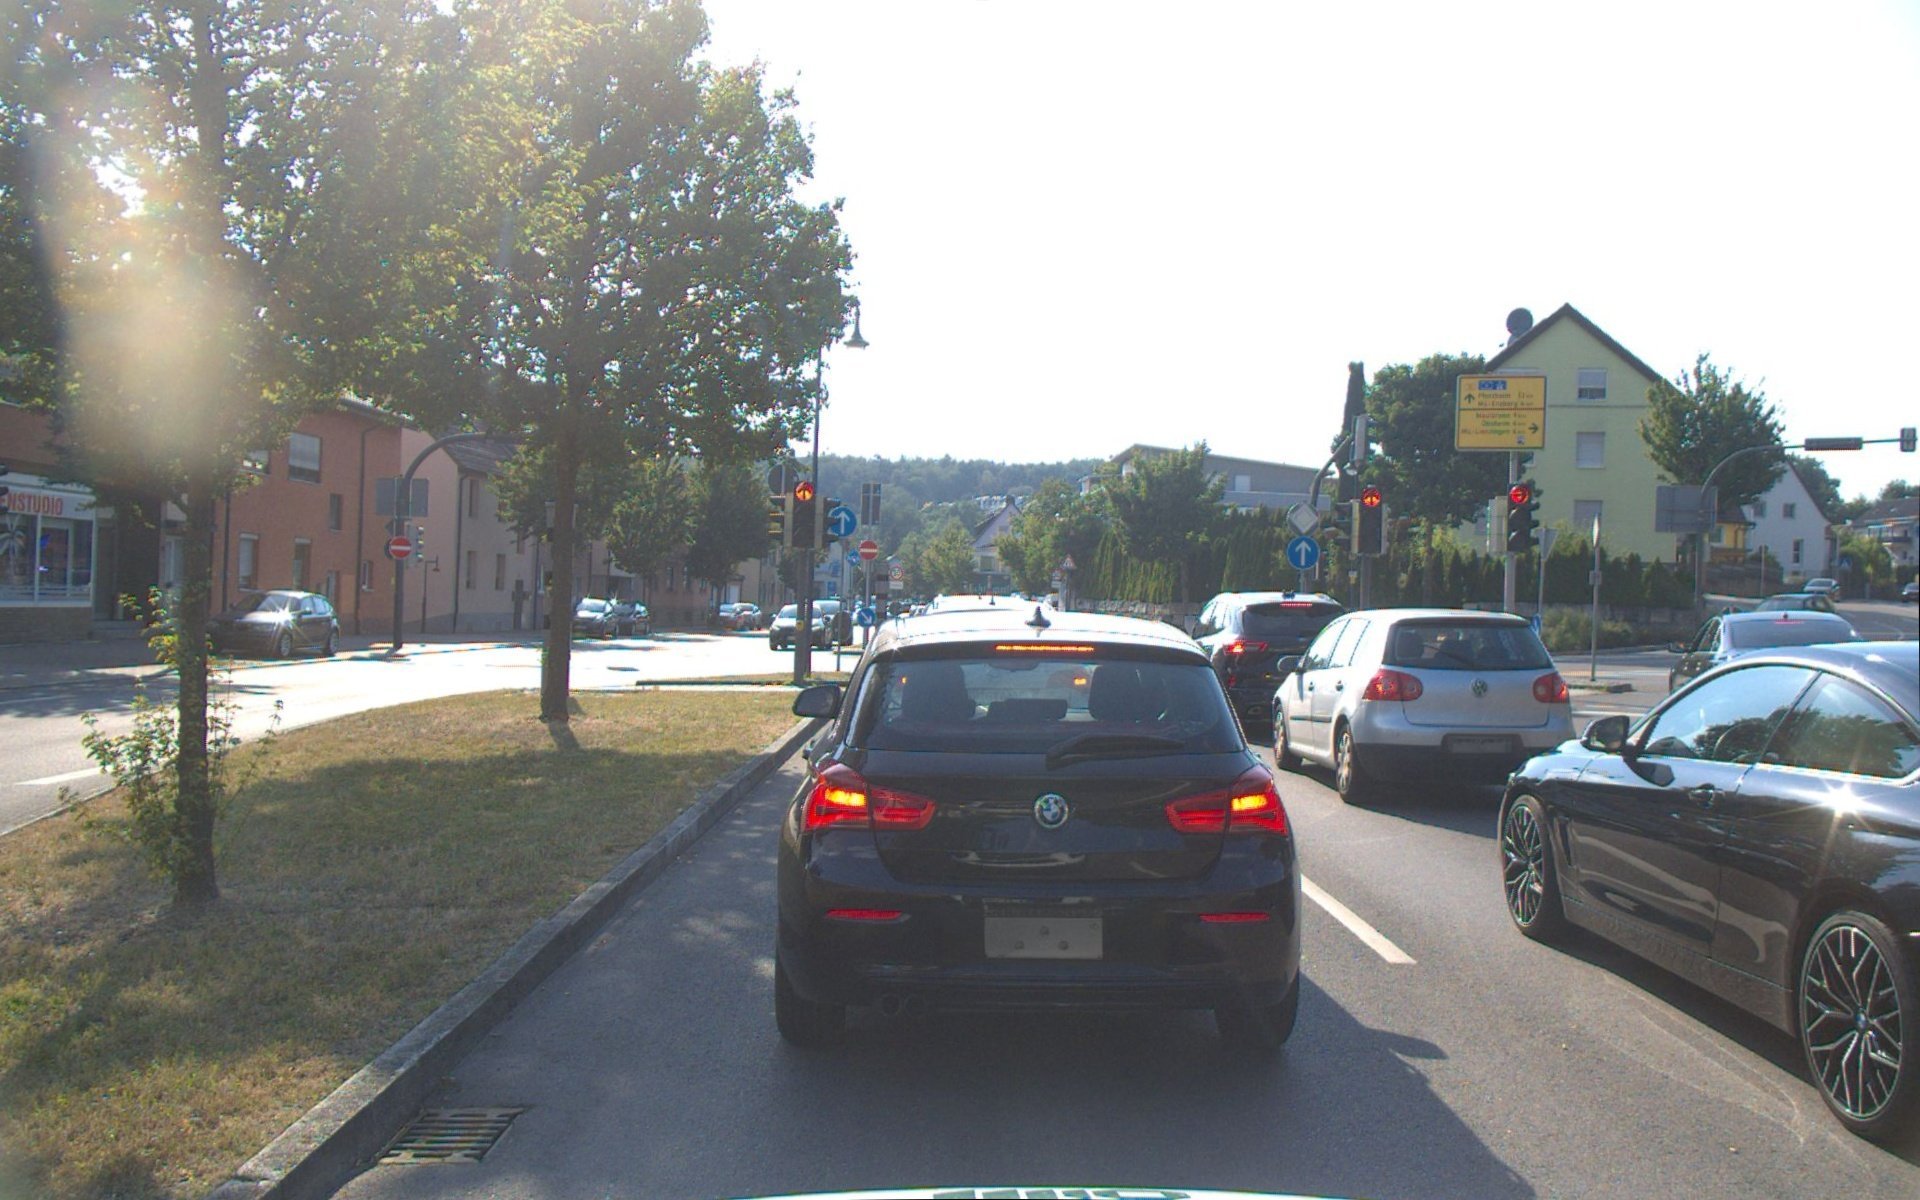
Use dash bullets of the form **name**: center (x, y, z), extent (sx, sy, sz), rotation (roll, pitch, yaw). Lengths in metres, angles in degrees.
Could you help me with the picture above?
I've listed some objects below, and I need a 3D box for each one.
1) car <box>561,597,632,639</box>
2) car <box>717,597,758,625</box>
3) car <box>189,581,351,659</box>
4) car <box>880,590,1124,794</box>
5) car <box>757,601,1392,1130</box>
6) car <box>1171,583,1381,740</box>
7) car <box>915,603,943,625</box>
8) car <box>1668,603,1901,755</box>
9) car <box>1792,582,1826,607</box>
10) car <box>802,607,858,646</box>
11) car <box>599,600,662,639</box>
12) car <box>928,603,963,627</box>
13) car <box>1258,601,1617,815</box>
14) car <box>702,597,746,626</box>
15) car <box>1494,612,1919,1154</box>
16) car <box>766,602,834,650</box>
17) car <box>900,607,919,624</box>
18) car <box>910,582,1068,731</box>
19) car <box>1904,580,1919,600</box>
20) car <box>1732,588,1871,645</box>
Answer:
- **car**: center (-14.616, 0.700, 66.770), extent (1.884, 1.624, 4.000), rotation (1, 0, 1)
- **car**: center (-13.771, 0.669, 102.586), extent (1.884, 1.624, 4.000), rotation (1, 0, 1)
- **car**: center (-15.487, 0.425, 37.352), extent (1.805, 1.579, 4.001), rotation (3, 0, 2)
- **car**: center (0.335, 0.675, 14.298), extent (1.779, 1.476, 4.242), rotation (1, 0, 1)
- **car**: center (0.347, 0.742, 6.791), extent (1.754, 1.439, 4.347), rotation (1, 0, 1)
- **car**: center (3.748, 0.671, 20.339), extent (1.779, 1.695, 4.347), rotation (1, 0, 1)
- **car**: center (-2.506, 1.124, 132.491), extent (1.854, 1.732, 4.518), rotation (0, 0, -6)
- **car**: center (9.079, 0.775, 18.561), extent (1.646, 1.460, 4.591), rotation (1, 0, 18)
- **car**: center (50.508, -0.333, 98.414), extent (1.678, 1.265, 3.995), rotation (1, 4, 29)
- **car**: center (-4.846, 0.971, 62.093), extent (1.658, 1.377, 4.000), rotation (1, 0, 1)
- **car**: center (-14.476, 0.851, 72.782), extent (1.884, 1.624, 4.000), rotation (1, 0, 1)
- **car**: center (-0.986, 0.975, 111.053), extent (1.826, 1.511, 4.652), rotation (1, 0, -6)
- **car**: center (3.747, 0.758, 13.788), extent (1.779, 1.471, 4.347), rotation (1, 0, 1)
- **car**: center (-13.817, 0.679, 97.080), extent (1.884, 1.624, 4.000), rotation (1, 0, 1)
- **car**: center (3.474, 0.780, 5.895), extent (1.779, 1.413, 4.347), rotation (1, 0, 1)
- **car**: center (-5.196, 0.826, 54.211), extent (1.730, 1.484, 4.000), rotation (1, 0, 1)
- **car**: center (-5.107, 1.580, 166.996), extent (1.885, 1.624, 3.999), rotation (1, 0, -1)
- **car**: center (0.355, 0.641, 20.971), extent (1.779, 1.670, 4.242), rotation (1, 0, 1)
- **car**: center (79.793, -0.808, 137.828), extent (1.745, 1.607, 3.987), rotation (1, 0, 34)
- **car**: center (25.113, 0.460, 49.318), extent (4.011, 1.533, 1.775), rotation (-1, 1, -29)
